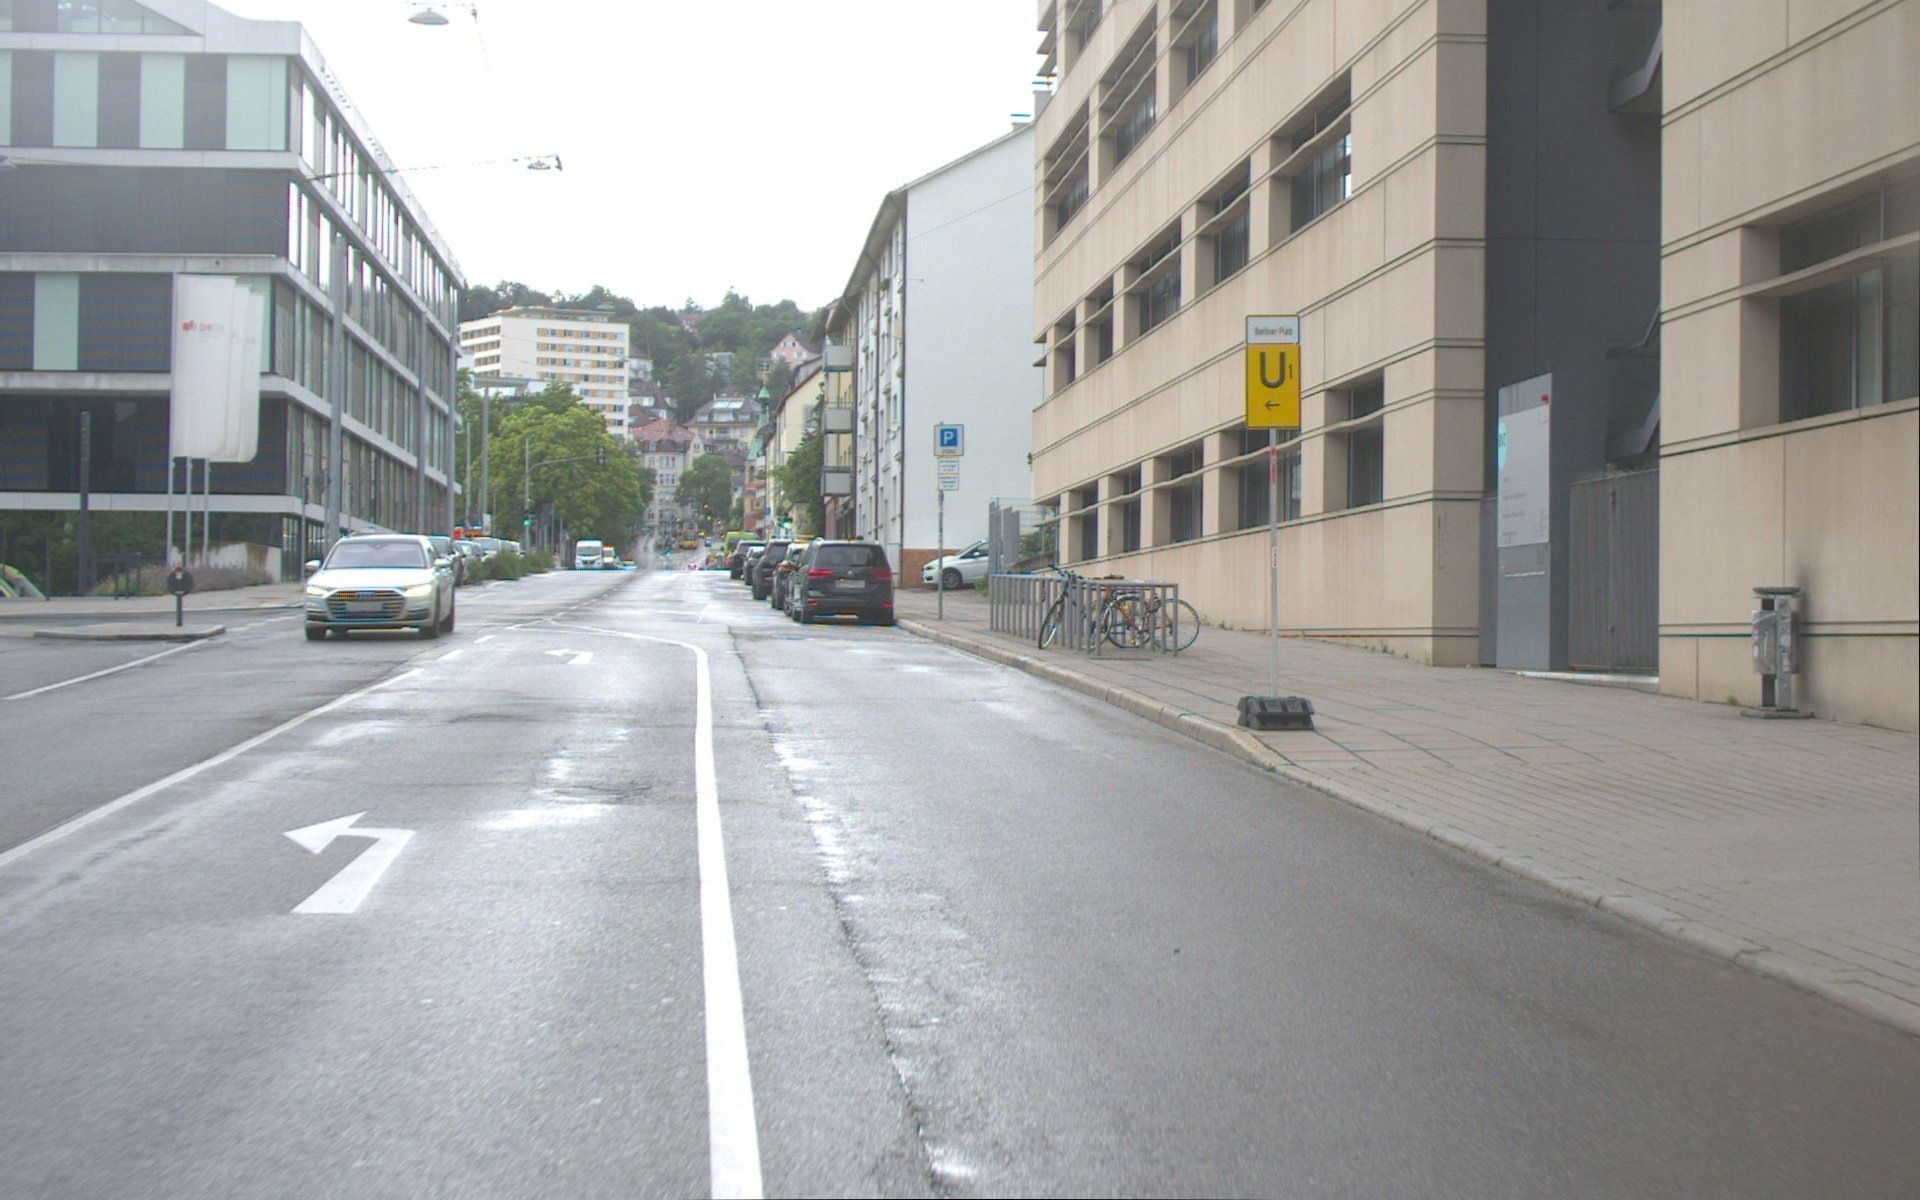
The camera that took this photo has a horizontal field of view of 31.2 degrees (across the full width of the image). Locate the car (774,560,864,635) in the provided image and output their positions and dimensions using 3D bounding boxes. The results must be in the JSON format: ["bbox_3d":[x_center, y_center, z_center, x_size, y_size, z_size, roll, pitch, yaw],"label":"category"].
[{"bbox_3d":[-3.131,-0.061,75.637,1.725,1.507,4.058,3,0,-5],"label":"car"}]

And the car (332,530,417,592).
[{"bbox_3d":[-16.068,-1.063,94.459,1.849,1.612,4.491,2,1,-4],"label":"car"}]

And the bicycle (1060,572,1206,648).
[{"bbox_3d":[2.205,0.126,43.804,1.758,0.950,0.660,1,0,-7],"label":"bicycle"}]

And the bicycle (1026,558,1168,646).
[{"bbox_3d":[1.777,0.027,44.755,1.729,1.115,0.660,1,0,-9],"label":"bicycle"}]

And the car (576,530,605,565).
[{"bbox_3d":[-28.064,-3.953,261.019,2.104,2.538,4.752,2,0,-7],"label":"car"}]

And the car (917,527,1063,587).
[{"bbox_3d":[0.930,-1.363,109.089,4.437,1.707,1.905,-2,1,-5],"label":"car"}]

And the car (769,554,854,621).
[{"bbox_3d":[-3.600,-0.323,82.793,1.743,1.528,4.320,2,0,-6],"label":"car"}]

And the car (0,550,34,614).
[{"bbox_3d":[-31.953,-0.619,109.779,4.341,2.025,1.598,2,0,-4],"label":"car"}]

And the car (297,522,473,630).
[{"bbox_3d":[-8.505,-0.403,51.268,1.881,1.486,5.220,-1,1,-2],"label":"car"}]

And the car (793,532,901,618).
[{"bbox_3d":[-2.255,-0.501,67.407,1.770,1.598,4.395,2,1,-6],"label":"car"}]

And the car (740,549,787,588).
[{"bbox_3d":[-7.680,-1.221,134.314,1.706,1.449,3.985,2,1,-5],"label":"car"}]

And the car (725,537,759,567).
[{"bbox_3d":[-13.058,-2.871,206.307,1.866,1.764,4.189,2,0,-2],"label":"car"}]
